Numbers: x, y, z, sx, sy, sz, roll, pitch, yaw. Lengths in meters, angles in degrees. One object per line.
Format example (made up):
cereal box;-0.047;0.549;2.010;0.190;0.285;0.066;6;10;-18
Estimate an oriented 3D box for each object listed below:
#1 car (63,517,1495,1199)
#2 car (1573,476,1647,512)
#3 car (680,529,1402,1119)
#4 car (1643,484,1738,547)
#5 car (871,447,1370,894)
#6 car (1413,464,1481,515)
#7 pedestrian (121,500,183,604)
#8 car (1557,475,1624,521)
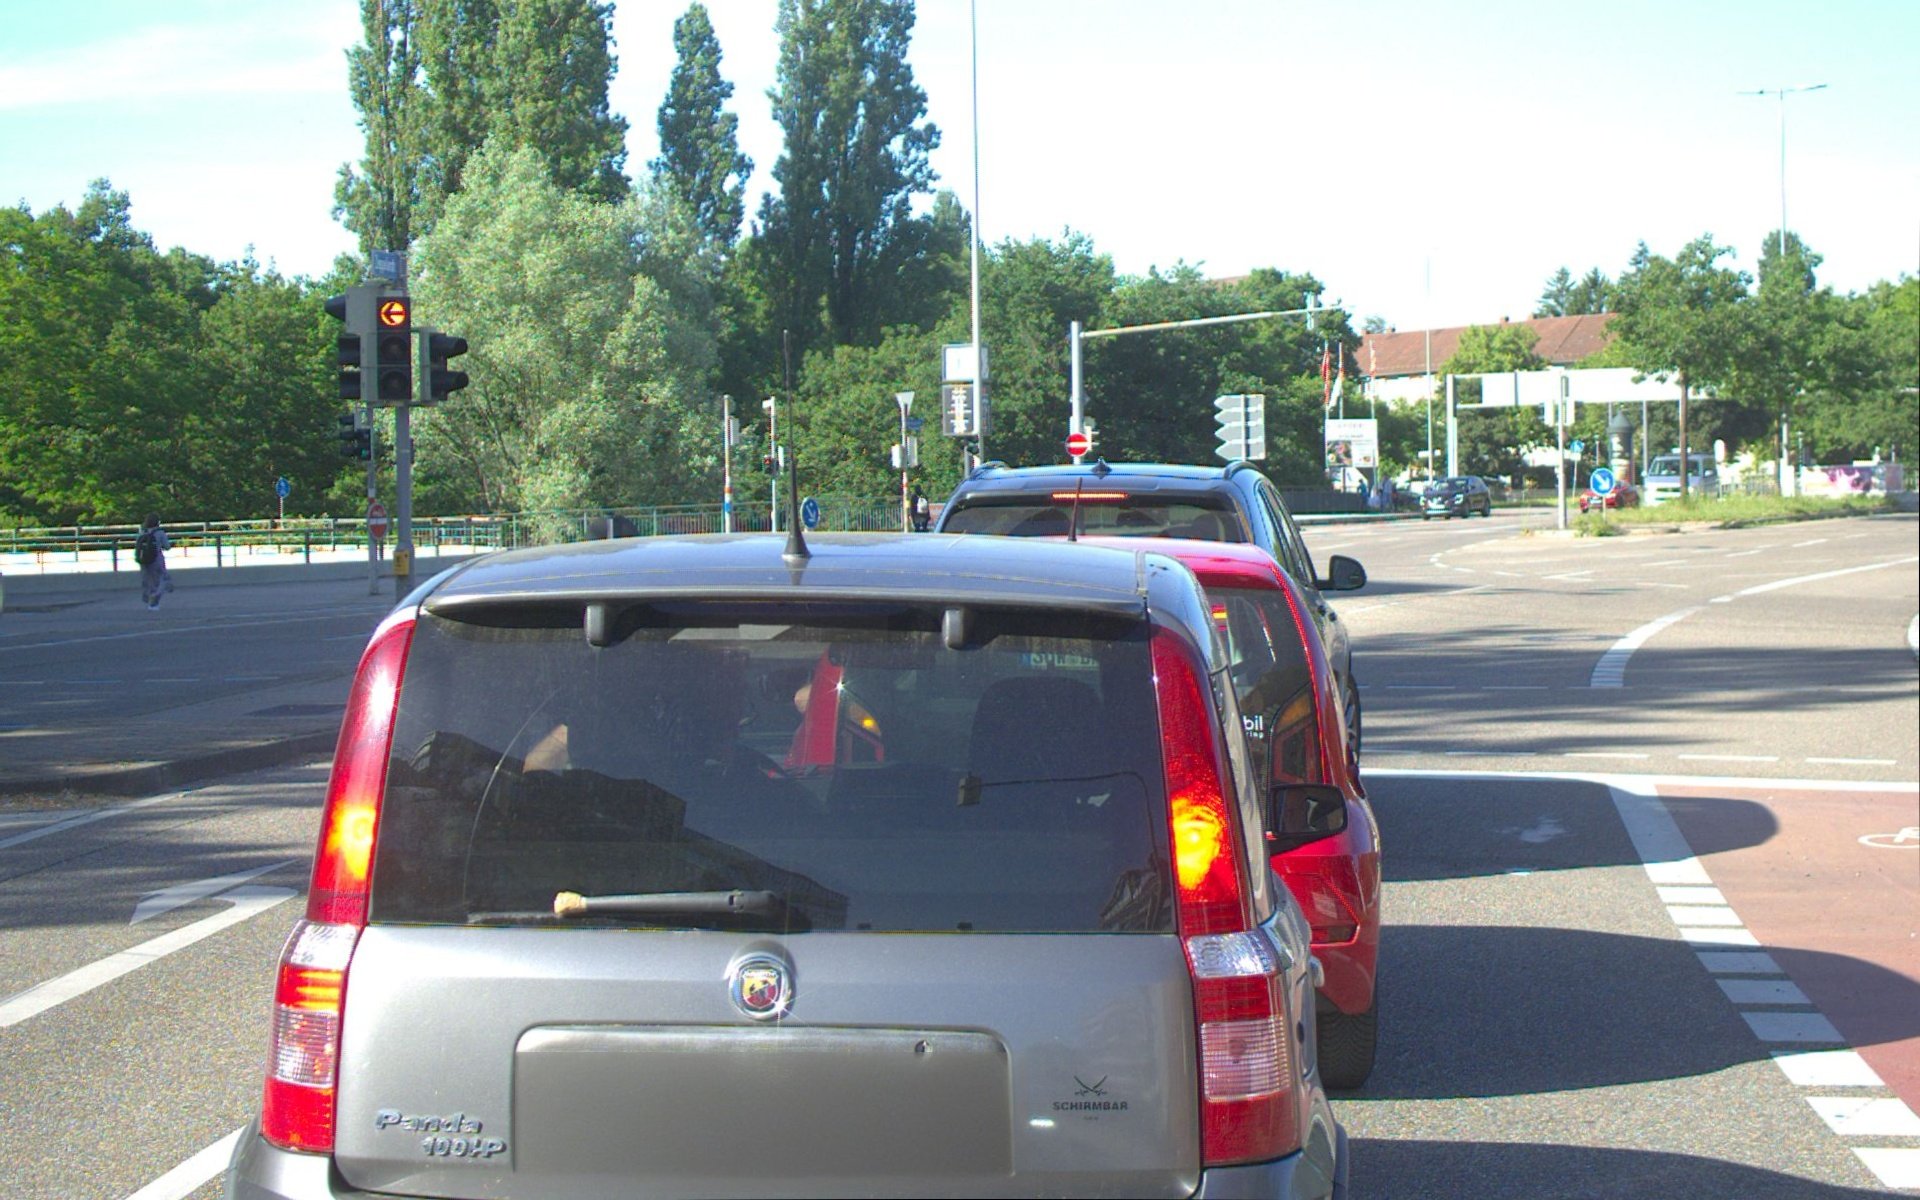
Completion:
car;-0.143;0.619;6.402;1.820;1.484;4.000;2;2;3
car;28.963;-4.719;153.108;2.016;1.540;4.880;0;2;26
car;0.282;0.527;10.759;1.820;1.474;4.000;1;1;2
car;23.387;-2.675;109.922;2.015;1.848;4.880;0;-1;24
car;0.900;0.207;16.134;1.869;1.784;4.413;1;2;9
car;19.483;-4.387;137.351;2.014;1.848;4.427;0;-1;17
pedestrian;-12.741;-0.749;54.224;0.686;1.533;1.366;0;-3;-3
car;28.061;-4.507;153.004;2.015;1.848;4.880;0;-1;22
